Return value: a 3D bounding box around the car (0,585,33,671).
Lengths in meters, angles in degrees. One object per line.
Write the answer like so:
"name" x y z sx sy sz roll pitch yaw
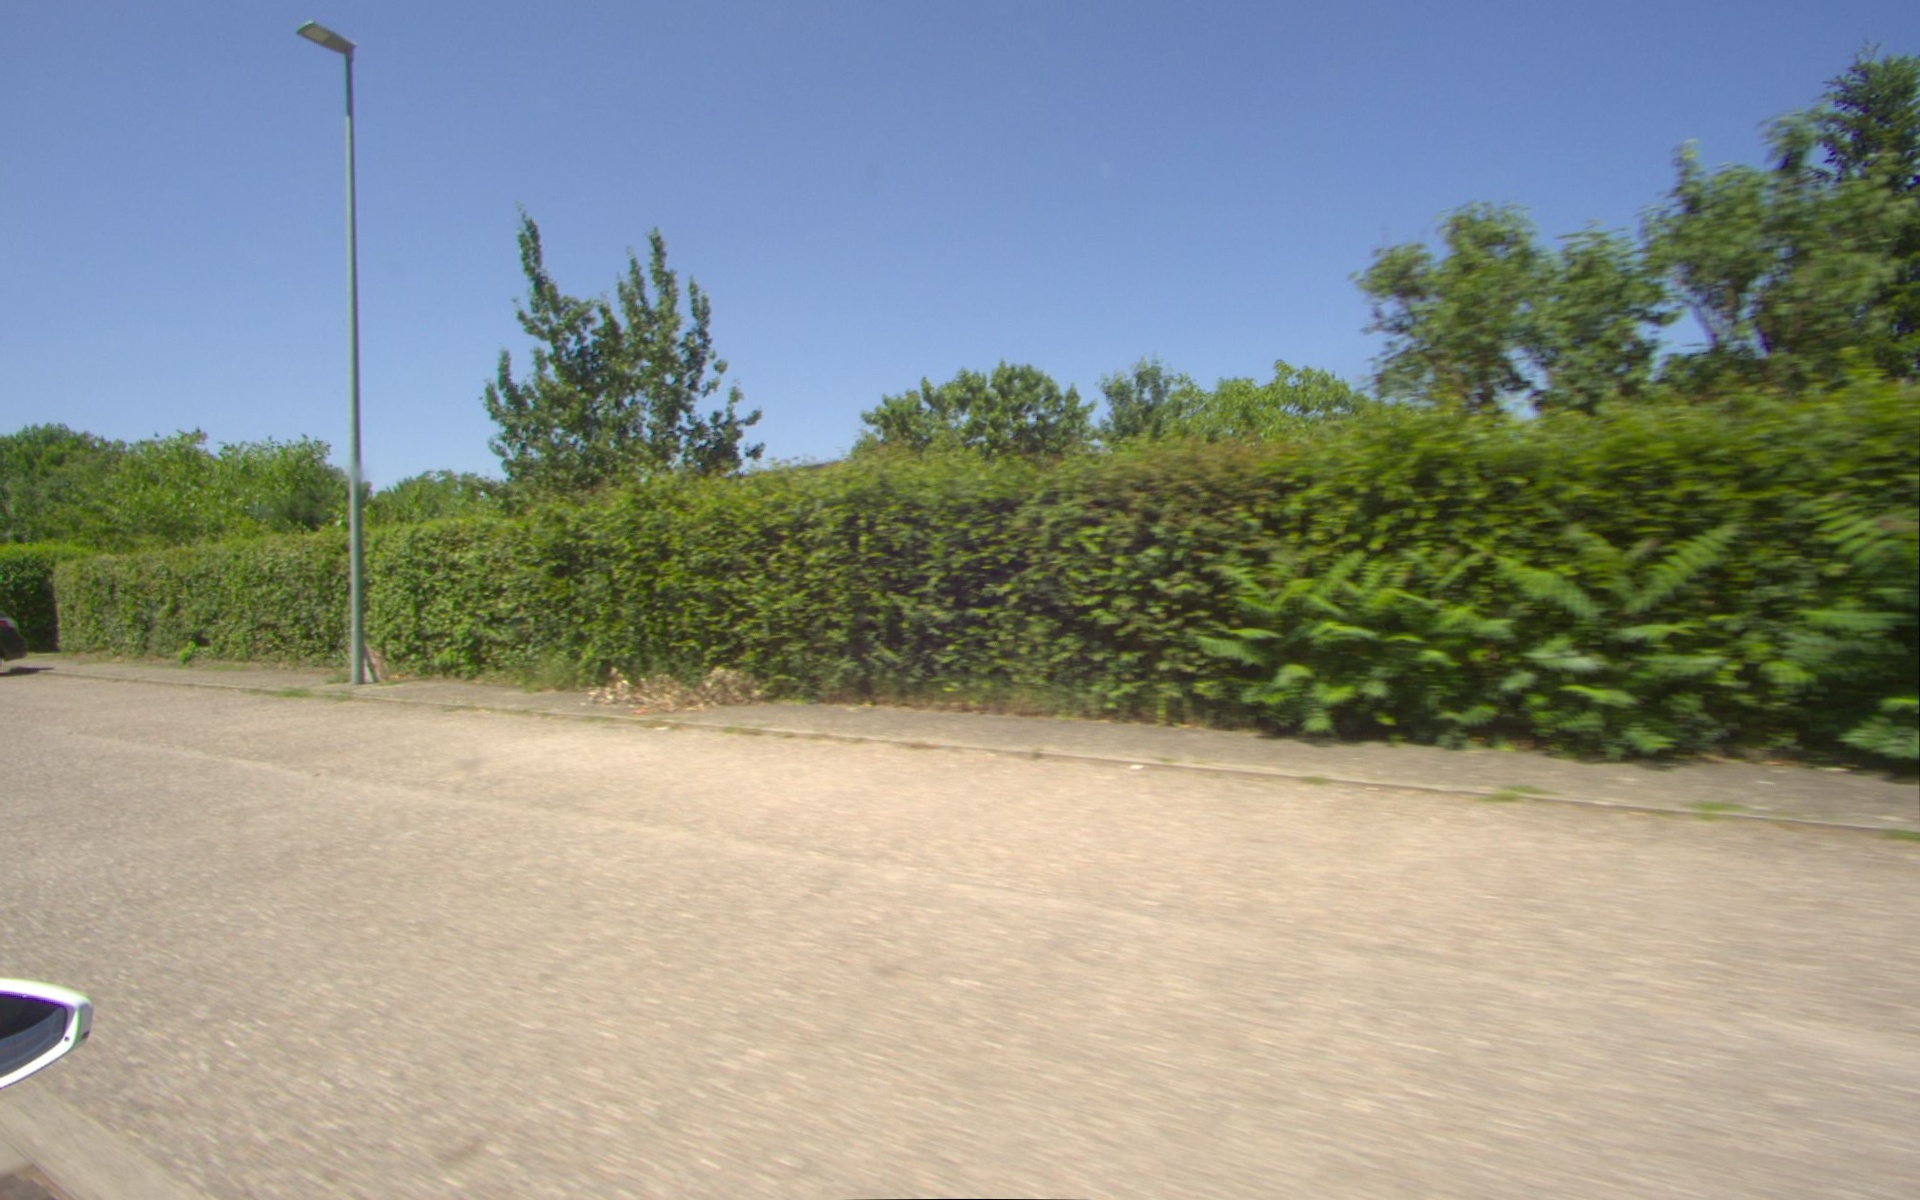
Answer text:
"car" -18.559 0.573 16.702 1.856 1.516 4.153 0 2 32
